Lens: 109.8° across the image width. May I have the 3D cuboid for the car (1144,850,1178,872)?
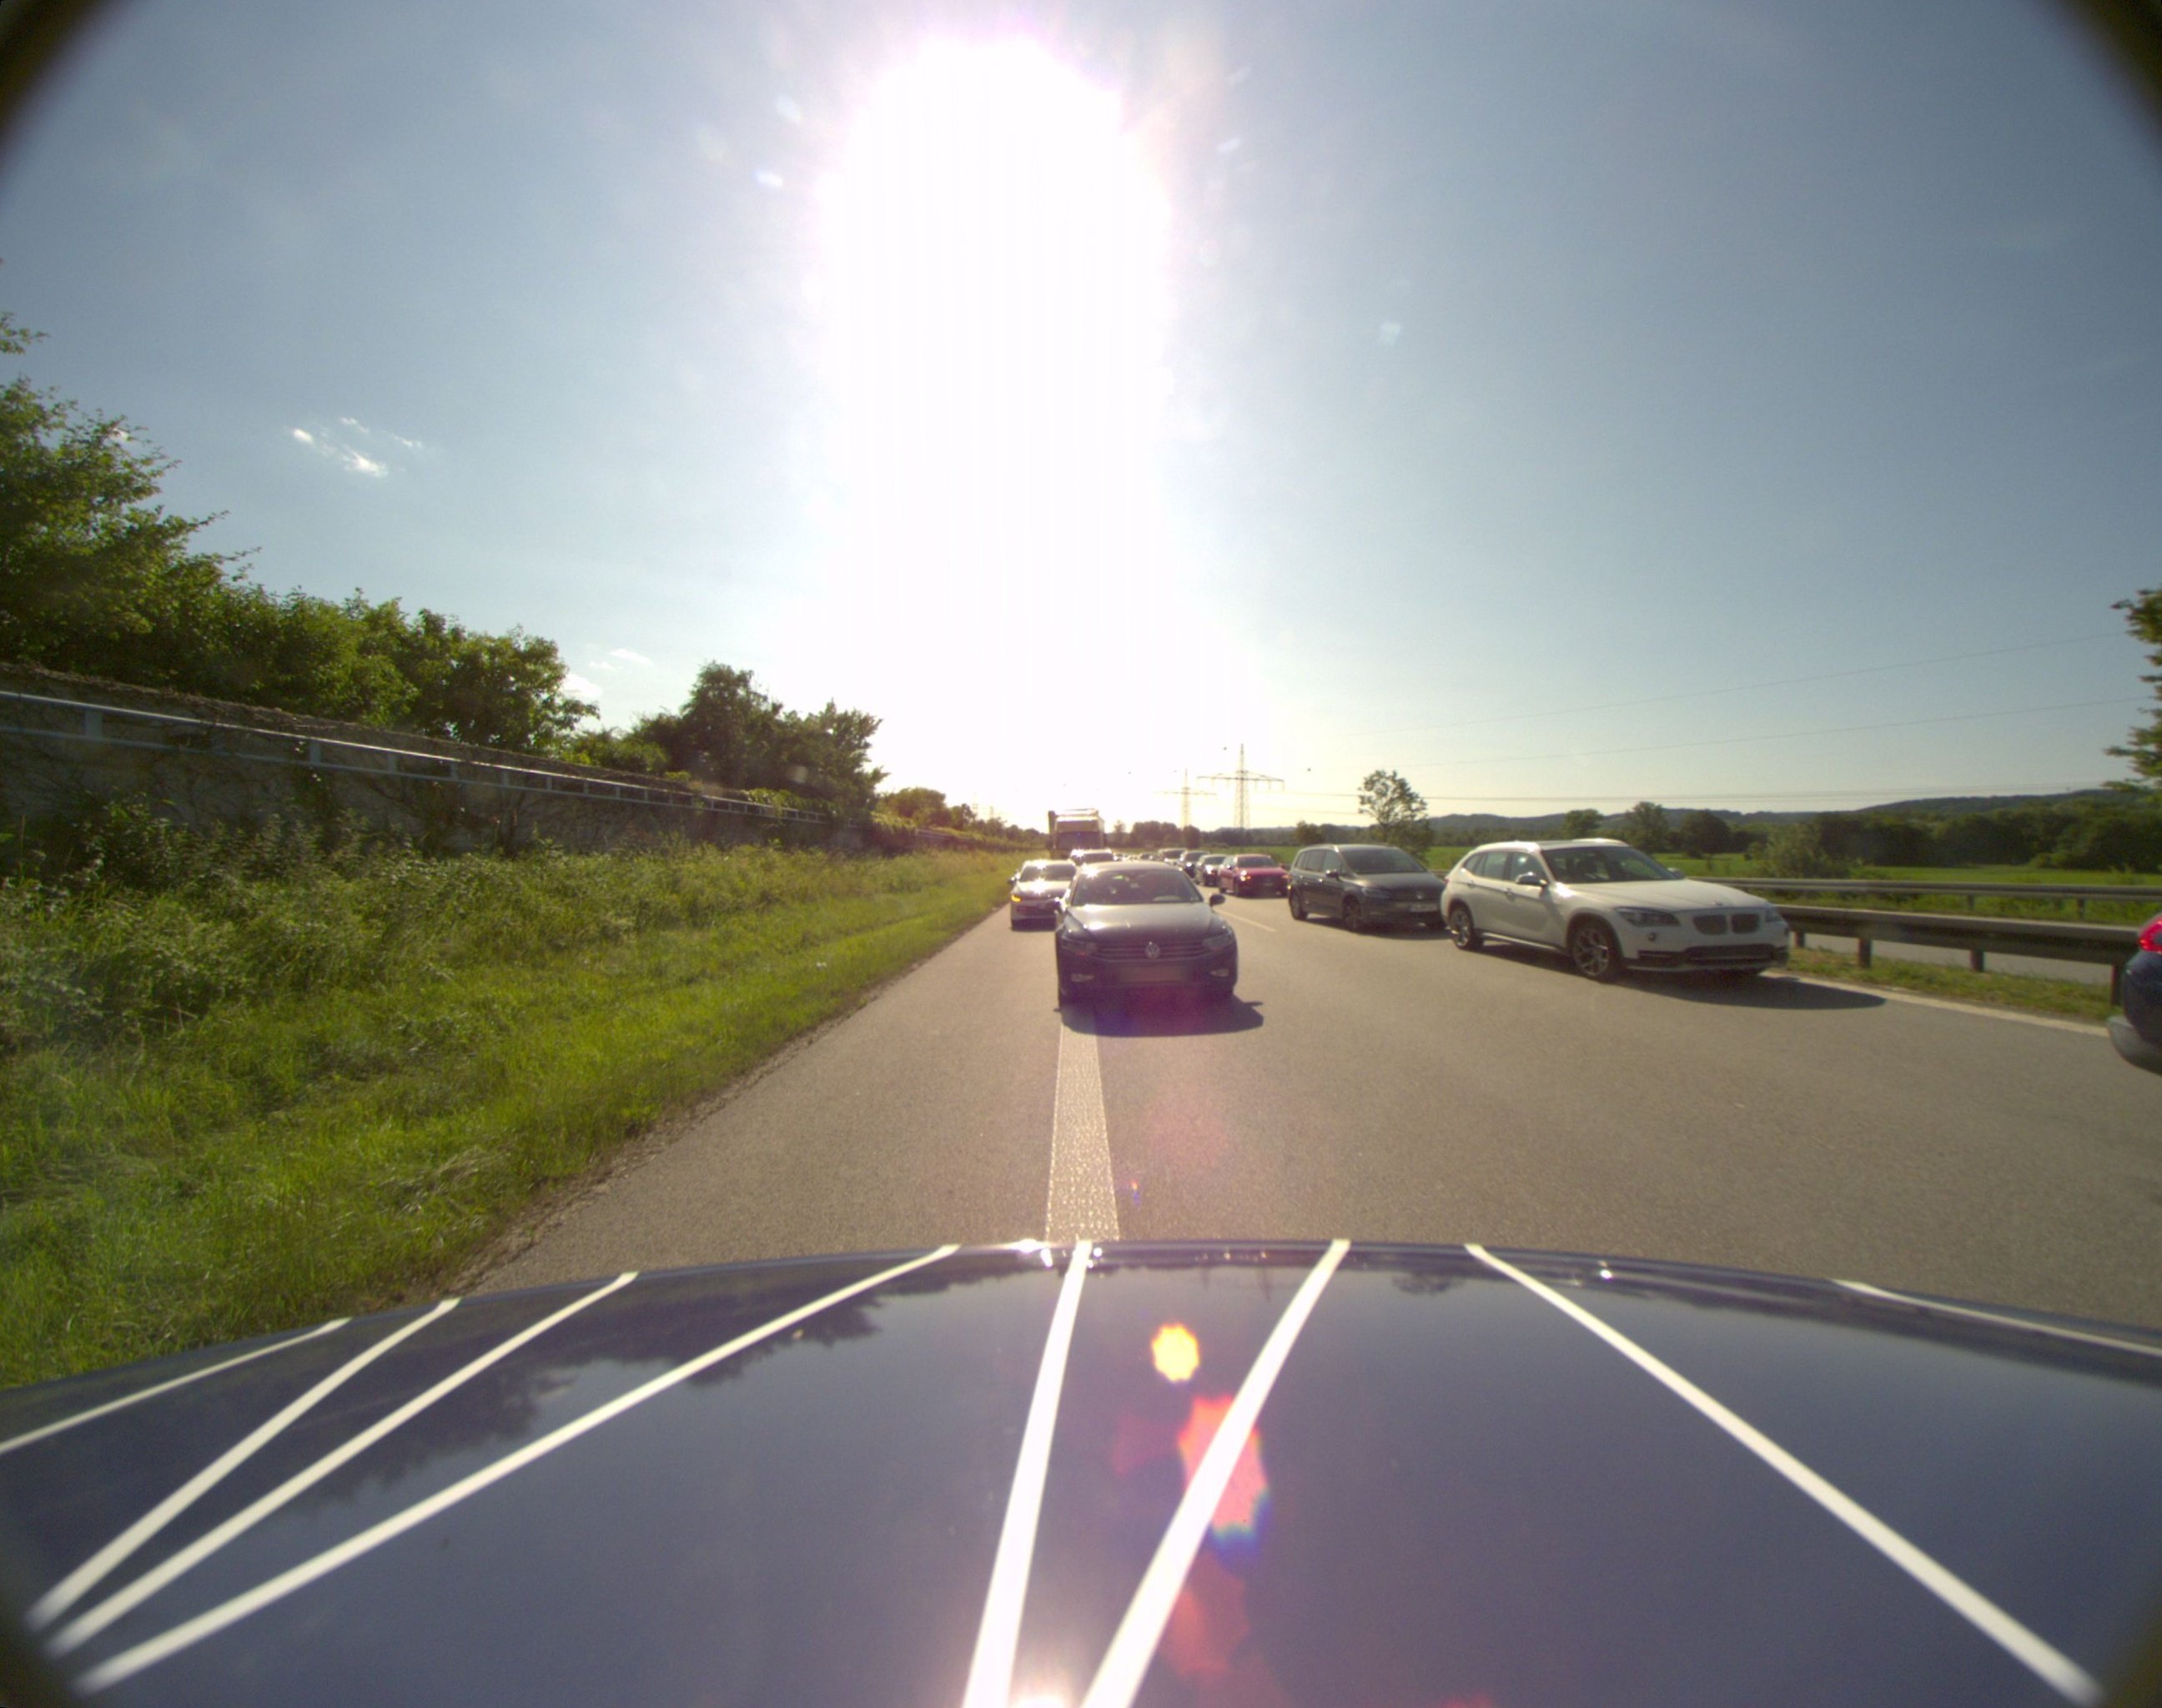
[{"bbox_3d":[5.814,0.513,55.624,1.999,1.522,3.999,-1,0,-1],"label":"car"}]

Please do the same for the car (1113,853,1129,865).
[{"bbox_3d":[5.060,0.621,95.694,1.820,1.450,4.117,0,0,0],"label":"car"}]

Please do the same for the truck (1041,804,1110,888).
[{"bbox_3d":[-0.235,-0.454,41.656,3.333,4.089,6.969,-2,1,1],"label":"truck"}]

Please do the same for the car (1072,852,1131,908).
[{"bbox_3d":[0.584,0.782,24.828,1.717,1.614,4.325,-2,0,-1],"label":"car"}]

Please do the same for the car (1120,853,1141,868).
[{"bbox_3d":[5.079,0.646,78.407,1.820,1.450,4.117,-2,0,0],"label":"car"}]

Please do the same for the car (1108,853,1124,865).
[{"bbox_3d":[4.745,0.671,104.115,1.820,1.450,4.117,-2,0,-1],"label":"car"}]

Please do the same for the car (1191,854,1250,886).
[{"bbox_3d":[6.430,0.697,35.502,1.895,1.390,3.999,-1,0,-2],"label":"car"}]

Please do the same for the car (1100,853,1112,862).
[{"bbox_3d":[4.086,0.535,124.477,1.820,1.450,4.117,-2,0,0],"label":"car"}]

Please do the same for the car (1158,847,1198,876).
[{"bbox_3d":[6.156,0.466,48.457,1.902,1.777,4.199,-1,0,-2],"label":"car"}]

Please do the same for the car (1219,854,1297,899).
[{"bbox_3d":[6.132,0.723,26.794,1.820,1.450,4.117,0,0,0],"label":"car"}]

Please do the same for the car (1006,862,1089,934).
[{"bbox_3d":[-0.738,0.952,18.344,1.717,1.417,4.325,-2,0,-1],"label":"car"}]

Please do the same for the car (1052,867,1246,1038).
[{"bbox_3d":[0.599,0.924,9.040,1.717,1.405,4.325,-2,0,-1],"label":"car"}]

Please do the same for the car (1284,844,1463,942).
[{"bbox_3d":[5.562,0.664,15.048,1.820,1.607,4.116,-2,0,-2],"label":"car"}]

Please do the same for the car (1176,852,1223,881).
[{"bbox_3d":[6.432,0.647,41.593,1.894,1.446,3.999,-1,0,-1],"label":"car"}]

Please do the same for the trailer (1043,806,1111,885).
[{"bbox_3d":[0.064,-0.538,47.758,3.387,4.089,13.953,-2,1,3],"label":"trailer"}]

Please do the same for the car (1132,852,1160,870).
[{"bbox_3d":[5.526,0.574,64.912,1.999,1.522,3.999,-1,0,-1],"label":"car"}]

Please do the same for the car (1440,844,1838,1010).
[{"bbox_3d":[6.363,0.697,9.392,1.832,1.564,4.163,-1,0,0],"label":"car"}]

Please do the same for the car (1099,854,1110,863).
[{"bbox_3d":[3.999,0.699,130.122,1.820,1.450,4.117,0,0,0],"label":"car"}]

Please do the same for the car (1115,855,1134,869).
[{"bbox_3d":[4.894,0.851,84.997,1.820,1.450,4.117,0,0,-1],"label":"car"}]

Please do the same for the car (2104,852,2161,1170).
[{"bbox_3d":[6.172,0.732,1.938,1.692,1.526,3.947,-3,0,-4],"label":"car"}]

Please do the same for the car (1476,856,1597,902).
[{"bbox_3d":[16.034,0.831,27.038,1.699,1.418,4.304,-2,0,0],"label":"car"}]
